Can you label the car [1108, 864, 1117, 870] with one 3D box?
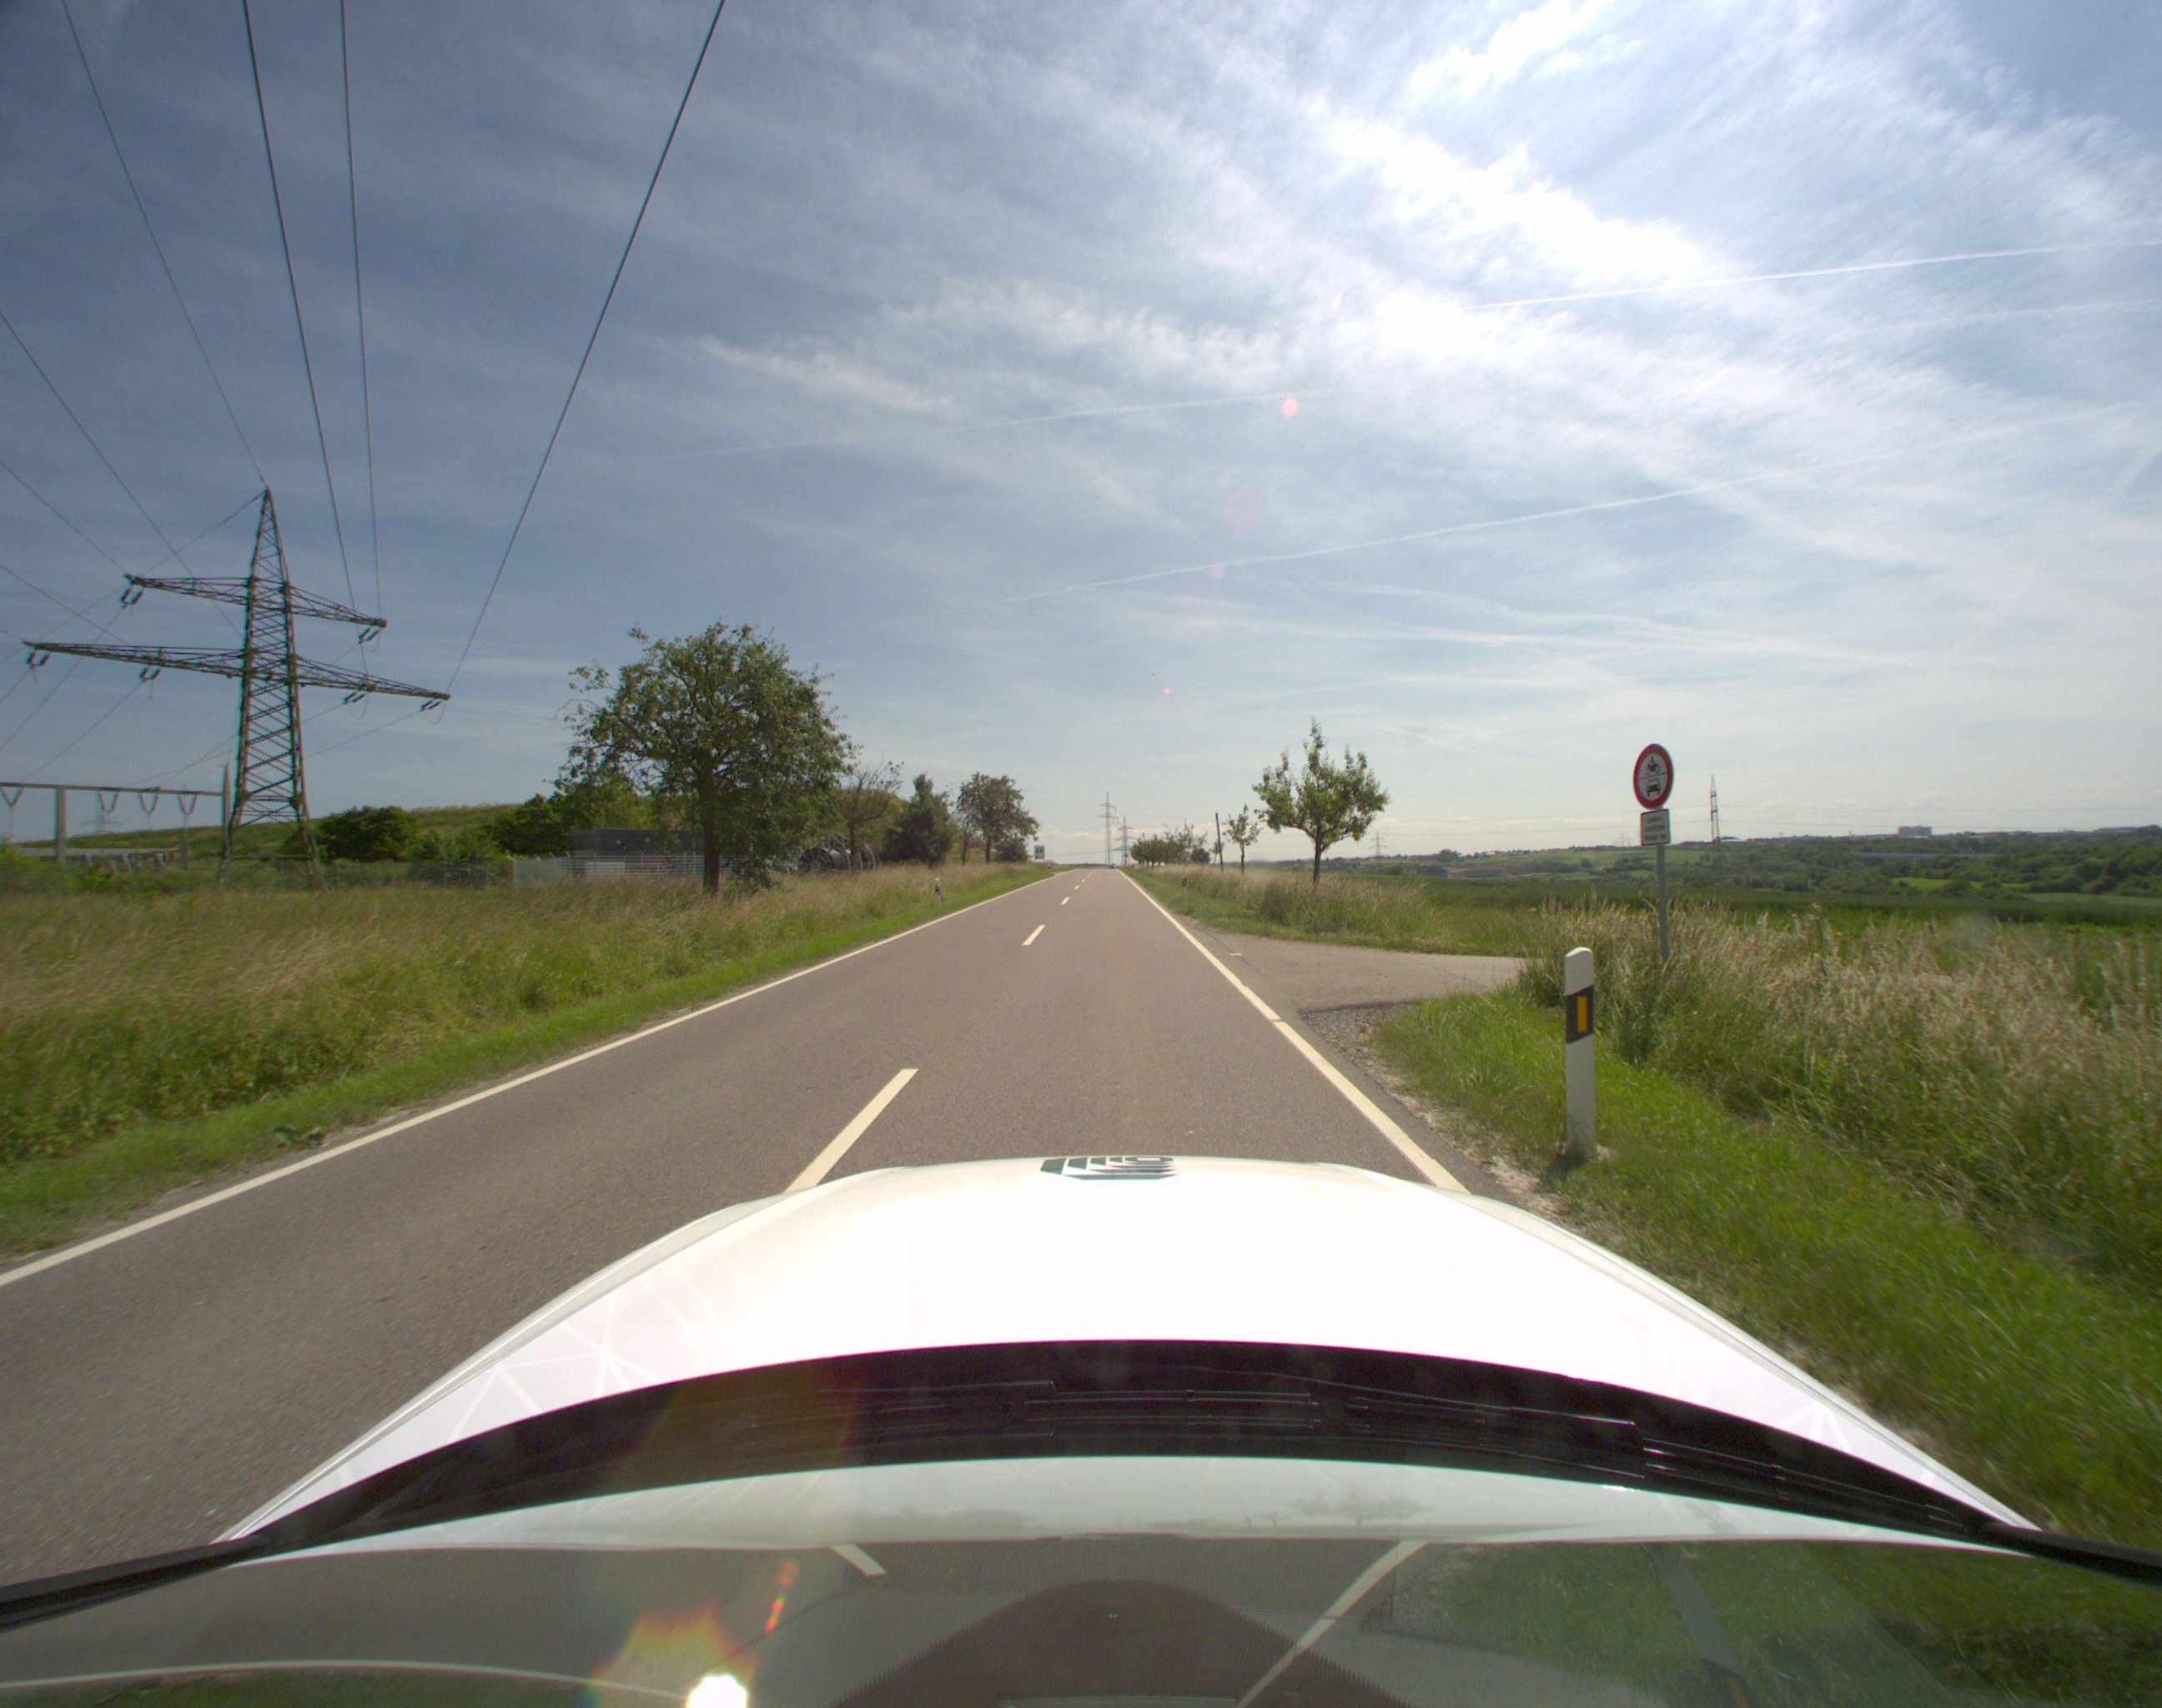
[{"bbox_3d":[7.394,3.000,192.442,1.813,1.410,4.008,-1,0,7],"label":"car"}]
